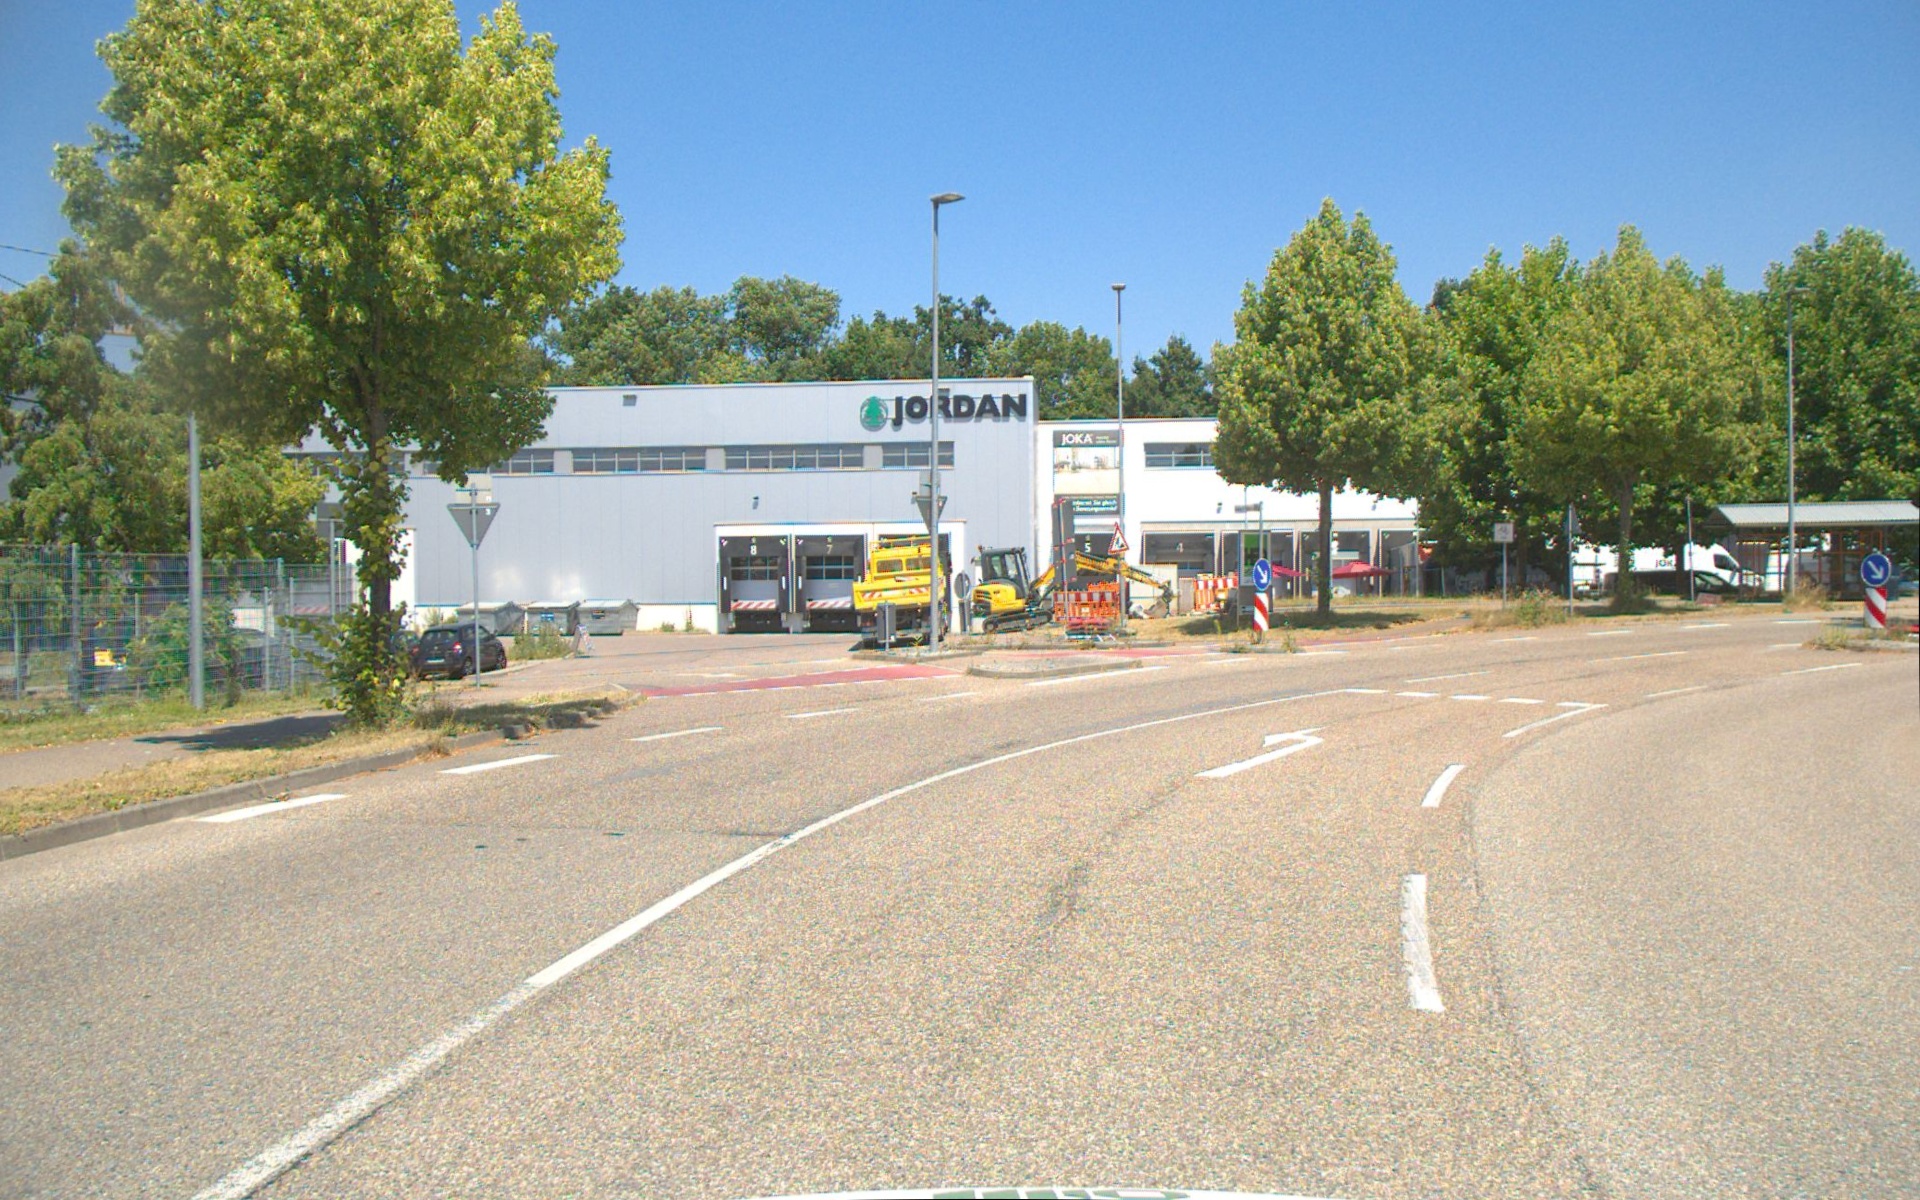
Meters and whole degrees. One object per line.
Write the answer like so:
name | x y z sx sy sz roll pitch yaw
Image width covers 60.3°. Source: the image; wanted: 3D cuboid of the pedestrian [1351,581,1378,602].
pedestrian | 14.451 -0.313 59.096 0.847 0.707 0.407 -2 0 29

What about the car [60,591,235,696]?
car | -24.218 1.228 49.598 1.952 2.780 5.802 -2 1 4

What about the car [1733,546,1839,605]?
car | 30.719 -0.876 61.620 1.514 2.049 4.260 1 0 -5

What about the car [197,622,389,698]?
car | -15.676 1.420 38.838 4.499 1.663 1.866 -2 -2 31

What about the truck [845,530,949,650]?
truck | -1.796 -0.420 49.817 2.534 3.190 6.427 -4 2 2

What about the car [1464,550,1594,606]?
car | 19.602 -0.745 57.078 3.902 1.758 1.842 -2 0 7

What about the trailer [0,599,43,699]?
trailer | -31.446 1.606 50.387 5.388 2.906 2.666 -3 2 1

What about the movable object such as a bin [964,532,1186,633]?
movable object such as a bin | 3.519 -0.501 50.144 6.416 2.626 2.002 -3 -1 10
